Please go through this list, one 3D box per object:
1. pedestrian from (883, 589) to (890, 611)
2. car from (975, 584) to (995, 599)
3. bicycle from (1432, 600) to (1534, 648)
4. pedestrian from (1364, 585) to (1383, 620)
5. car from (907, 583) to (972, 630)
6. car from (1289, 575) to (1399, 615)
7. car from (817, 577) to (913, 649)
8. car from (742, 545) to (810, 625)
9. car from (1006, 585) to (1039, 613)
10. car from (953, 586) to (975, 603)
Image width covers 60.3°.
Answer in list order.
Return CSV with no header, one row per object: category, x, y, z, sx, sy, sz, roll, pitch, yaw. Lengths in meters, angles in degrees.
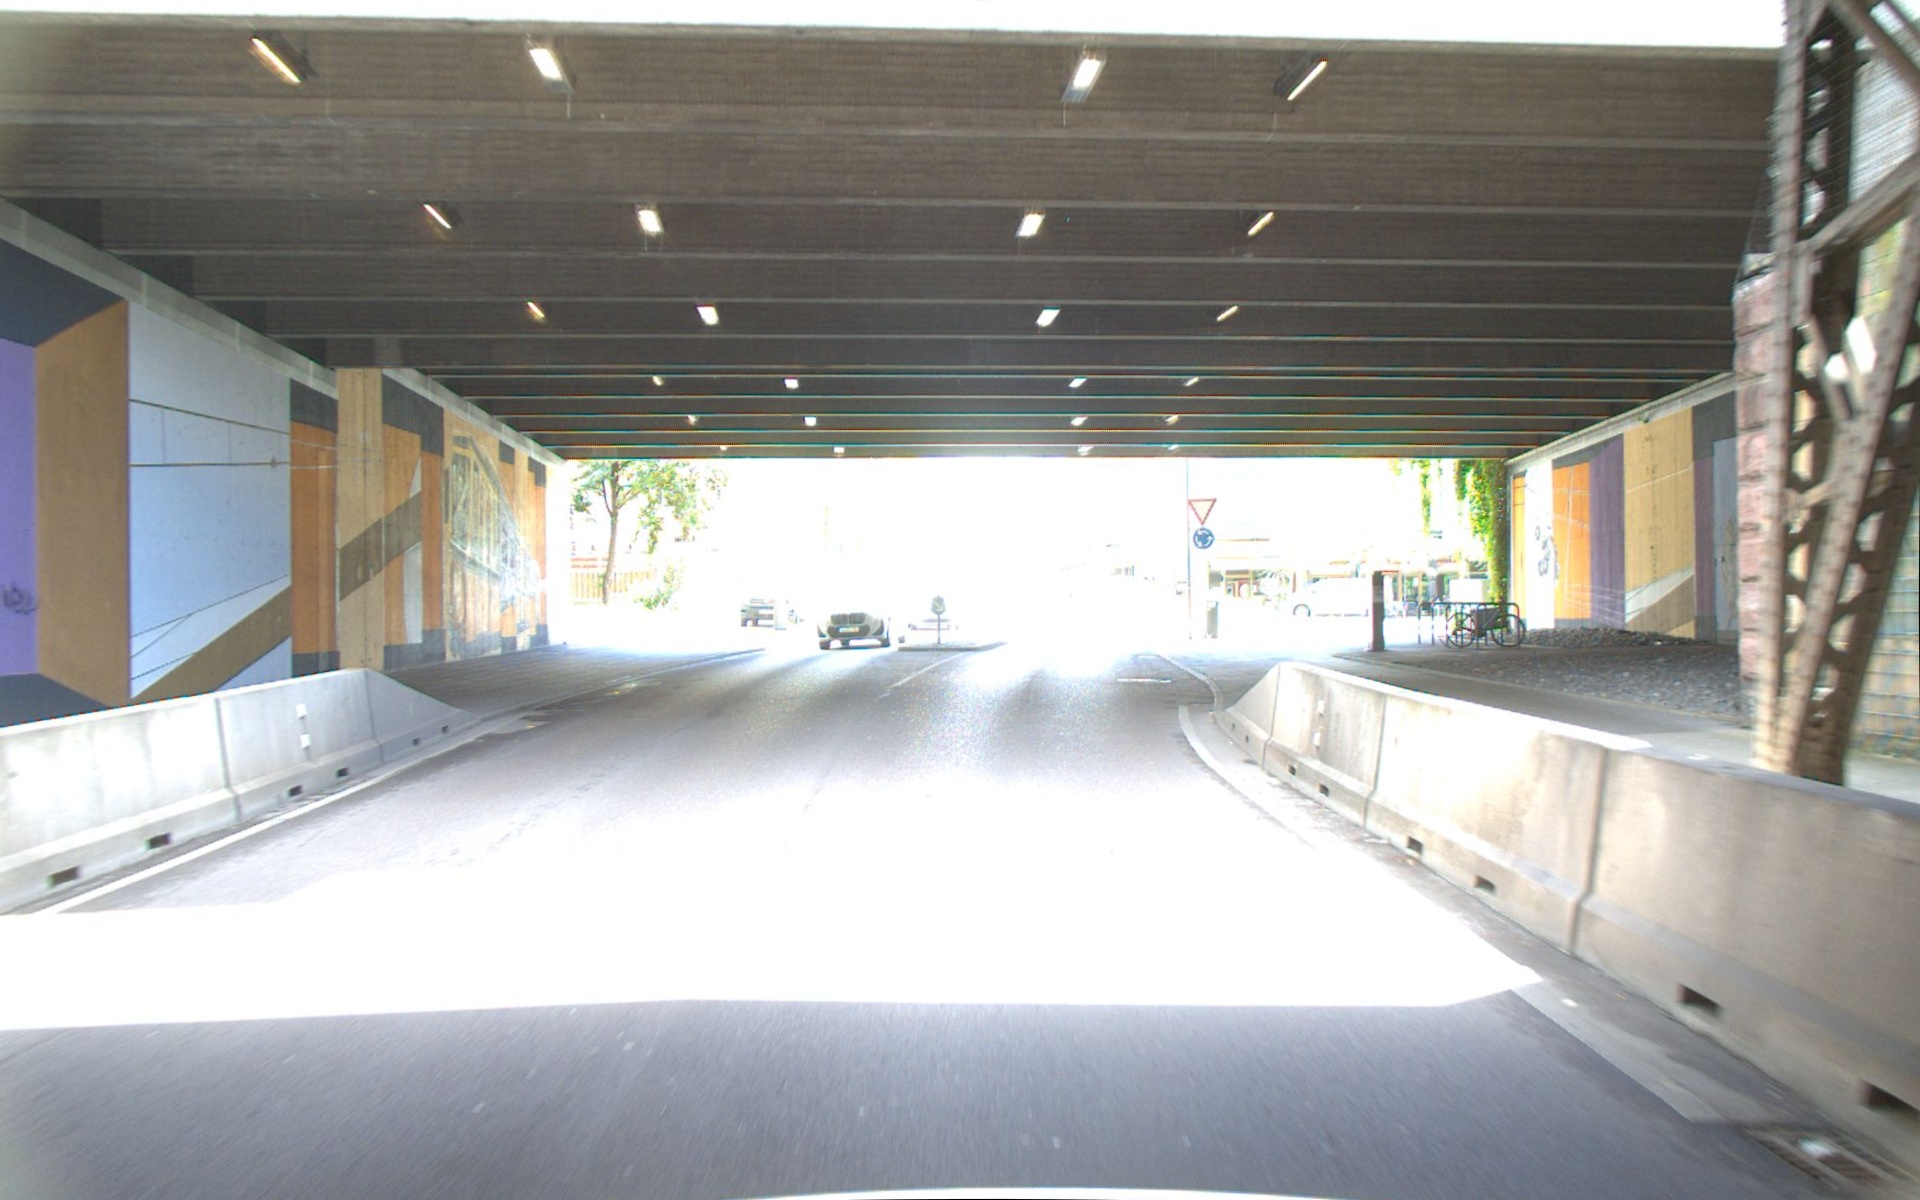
pedestrian,-5.795,0.020,129.826,0.540,1.715,0.516,0,0,-1
car,2.257,-0.829,152.627,1.675,1.378,3.999,0,1,-2
bicycle,10.689,0.498,33.827,1.906,0.920,0.506,-2,-1,-2
pedestrian,20.462,0.106,81.757,0.686,1.704,0.613,0,0,-22
car,-0.645,0.187,55.258,1.636,1.473,3.856,-2,0,7
car,17.320,-0.210,74.562,4.581,1.717,2.000,-1,0,22
car,-2.372,0.293,42.206,1.787,1.682,4.217,-2,0,5
car,-6.473,-0.515,58.730,1.928,2.652,5.928,1,0,-2
car,3.496,-0.046,92.803,1.786,1.546,4.233,-1,0,1
car,0.317,-0.475,133.911,1.675,1.378,3.999,0,1,-2
